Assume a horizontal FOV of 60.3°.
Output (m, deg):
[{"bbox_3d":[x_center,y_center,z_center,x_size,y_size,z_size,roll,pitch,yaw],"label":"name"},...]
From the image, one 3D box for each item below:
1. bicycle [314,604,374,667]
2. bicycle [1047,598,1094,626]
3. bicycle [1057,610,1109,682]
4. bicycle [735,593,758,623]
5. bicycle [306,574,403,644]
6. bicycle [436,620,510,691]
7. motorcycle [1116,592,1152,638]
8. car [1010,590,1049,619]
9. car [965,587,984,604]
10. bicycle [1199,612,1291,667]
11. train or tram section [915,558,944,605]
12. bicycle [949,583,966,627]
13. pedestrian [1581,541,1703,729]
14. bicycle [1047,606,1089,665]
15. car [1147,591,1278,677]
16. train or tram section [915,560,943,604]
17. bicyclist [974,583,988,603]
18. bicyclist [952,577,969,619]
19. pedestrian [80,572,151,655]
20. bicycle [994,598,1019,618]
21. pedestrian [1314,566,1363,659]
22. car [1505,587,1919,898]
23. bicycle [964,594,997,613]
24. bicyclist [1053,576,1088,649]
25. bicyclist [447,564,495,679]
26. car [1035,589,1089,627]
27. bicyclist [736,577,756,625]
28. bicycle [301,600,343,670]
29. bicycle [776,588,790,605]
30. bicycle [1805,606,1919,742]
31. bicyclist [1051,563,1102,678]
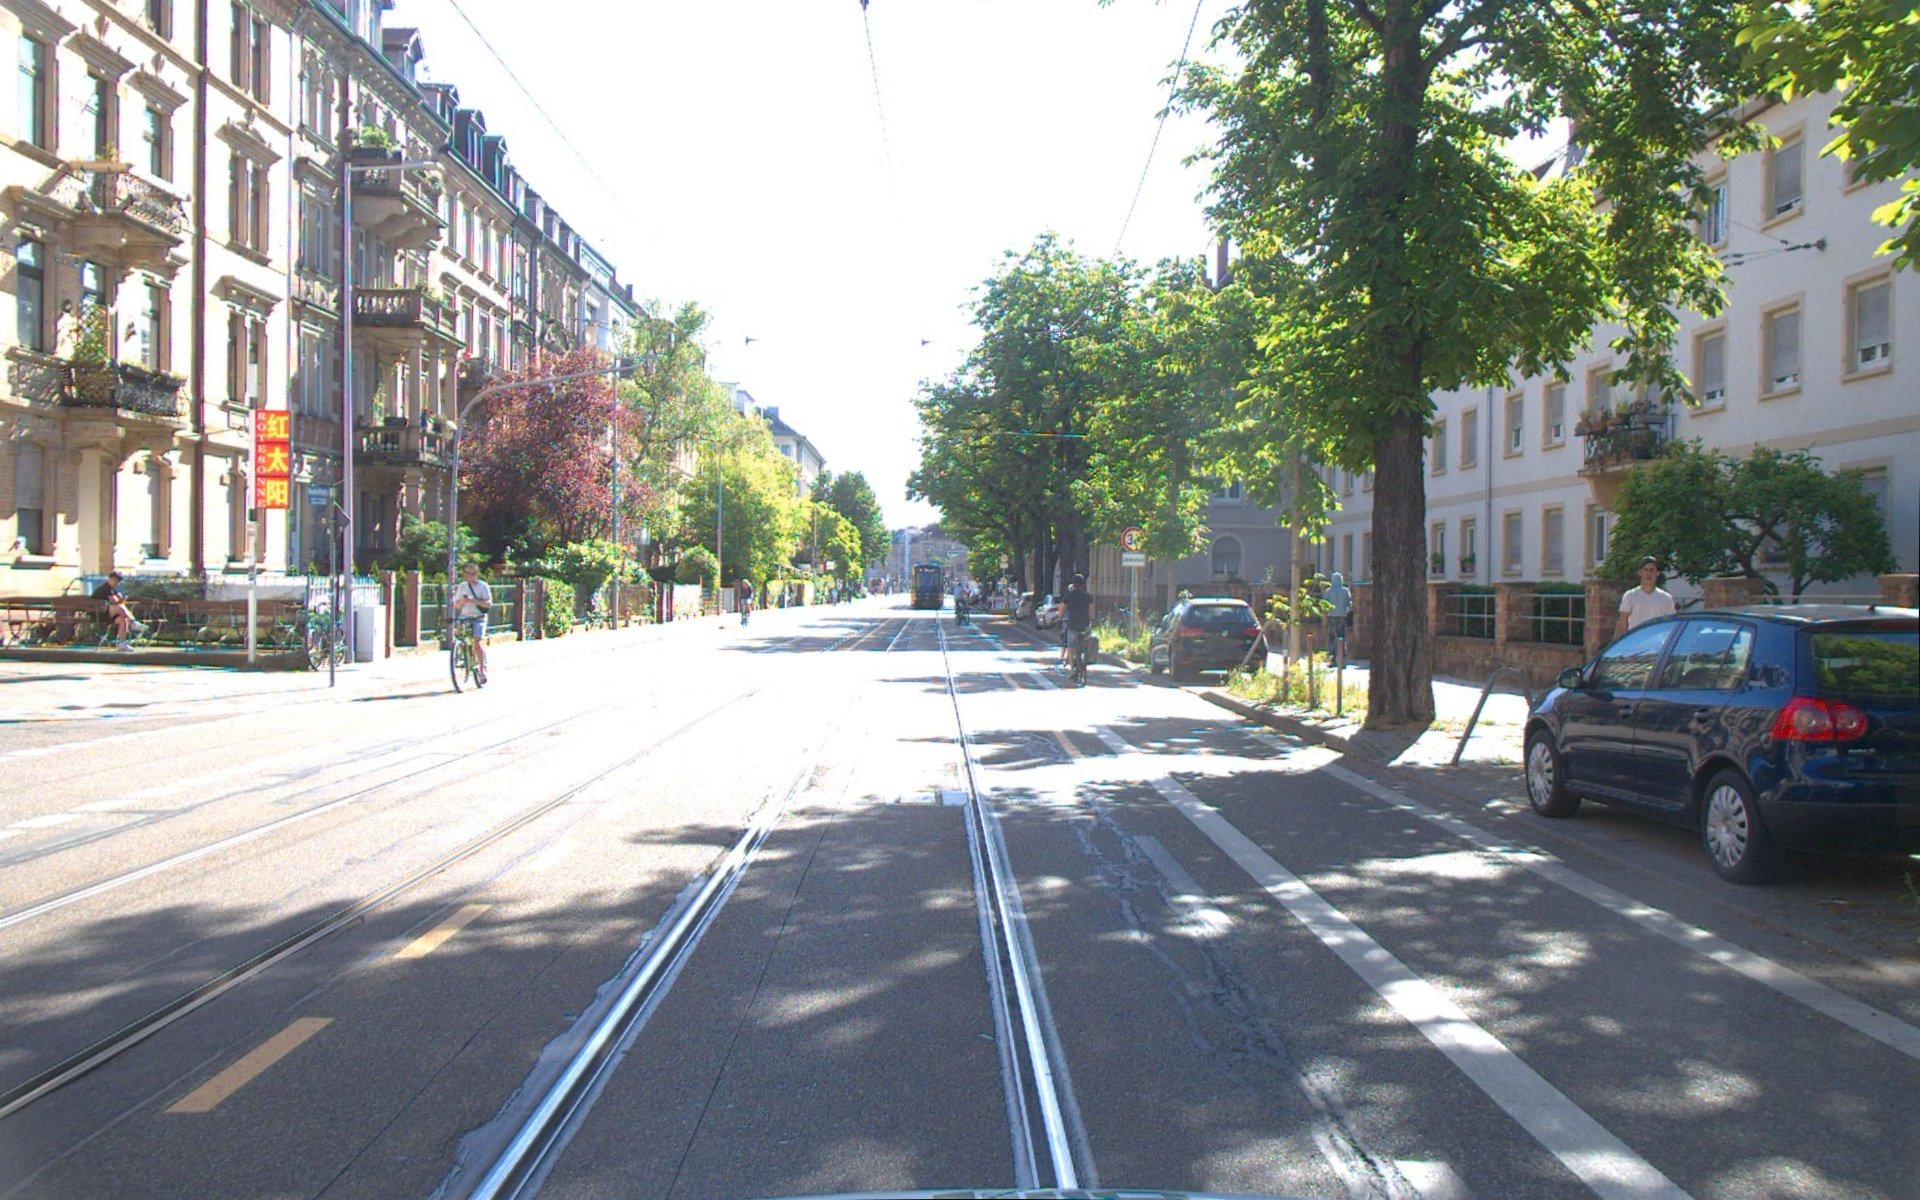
[{"bbox_3d":[-10.643,0.597,28.636,0.328,1.018,1.869,2,0,-1],"label":"bicycle"},{"bbox_3d":[4.261,0.455,63.714,1.756,1.037,0.620,-1,0,-2],"label":"bicycle"},{"bbox_3d":[2.058,0.752,27.798,0.678,1.132,1.718,2,0,-1],"label":"bicycle"},{"bbox_3d":[-8.285,0.292,64.217,0.677,1.132,1.718,-1,0,-1],"label":"bicycle"},{"bbox_3d":[-12.286,0.180,33.609,1.730,1.343,0.612,2,0,-11],"label":"bicycle"},{"bbox_3d":[-7.131,0.793,24.297,0.451,0.942,2.202,-1,0,-1],"label":"bicycle"},{"bbox_3d":[4.765,0.394,45.452,0.486,1.211,1.858,-3,1,-8],"label":"motorcycle"},{"bbox_3d":[3.562,0.219,84.856,1.713,1.445,3.999,0,0,-2],"label":"car"},{"bbox_3d":[1.480,-0.469,167.833,1.719,1.579,3.676,2,0,-1],"label":"car"},{"bbox_3d":[5.871,0.809,34.127,1.758,1.086,0.620,-1,0,-6],"label":"bicycle"},{"bbox_3d":[-2.426,-1.432,129.918,2.110,3.491,6.609,2,0,-1],"label":"train or tram section"},{"bbox_3d":[-0.102,0.197,73.550,0.649,1.891,2.260,2,0,0],"label":"bicycle"},{"bbox_3d":[6.775,0.335,16.452,0.593,1.801,0.903,-2,1,-31],"label":"pedestrian"},{"bbox_3d":[2.236,0.724,34.385,0.678,1.132,1.917,2,0,-1],"label":"bicycle"},{"bbox_3d":[4.629,0.578,30.864,1.751,1.489,4.043,0,0,-1],"label":"car"},{"bbox_3d":[-2.587,-1.501,136.584,2.110,3.491,6.609,2,0,-1],"label":"train or tram section"},{"bbox_3d":[1.423,-0.442,111.787,0.756,1.314,0.734,2,0,15],"label":"bicyclist"},{"bbox_3d":[0.024,-0.104,73.143,0.632,1.827,0.955,2,0,-1],"label":"bicyclist"},{"bbox_3d":[-14.416,0.223,28.236,0.882,1.376,0.577,-1,0,0],"label":"pedestrian"},{"bbox_3d":[2.513,0.444,89.698,1.243,1.042,0.704,2,-1,7],"label":"bicycle"},{"bbox_3d":[7.353,0.244,32.158,0.748,1.754,0.579,2,0,28],"label":"pedestrian"},{"bbox_3d":[4.985,0.677,10.225,1.685,1.499,4.244,0,1,-3],"label":"car"},{"bbox_3d":[1.394,0.242,111.898,2.094,1.191,0.803,2,0,14],"label":"bicycle"},{"bbox_3d":[2.303,0.256,34.498,0.622,1.493,0.616,2,0,-1],"label":"bicyclist"},{"bbox_3d":[-7.144,0.301,24.176,0.455,1.647,0.744,-1,0,-1],"label":"bicyclist"},{"bbox_3d":[4.066,0.302,66.536,1.596,1.461,4.661,0,1,-4],"label":"car"},{"bbox_3d":[-8.288,0.029,64.050,0.647,1.833,0.615,-1,0,-1],"label":"bicyclist"},{"bbox_3d":[-10.840,0.583,28.111,0.363,1.146,0.808,2,0,-1],"label":"bicycle"},{"bbox_3d":[-12.365,-0.245,115.482,0.623,1.088,1.823,2,0,-18],"label":"bicycle"},{"bbox_3d":[8.973,0.686,16.144,0.532,1.242,1.741,0,0,-1],"label":"bicycle"},{"bbox_3d":[1.955,0.333,27.860,0.713,1.880,0.836,2,0,-2],"label":"bicyclist"}]
